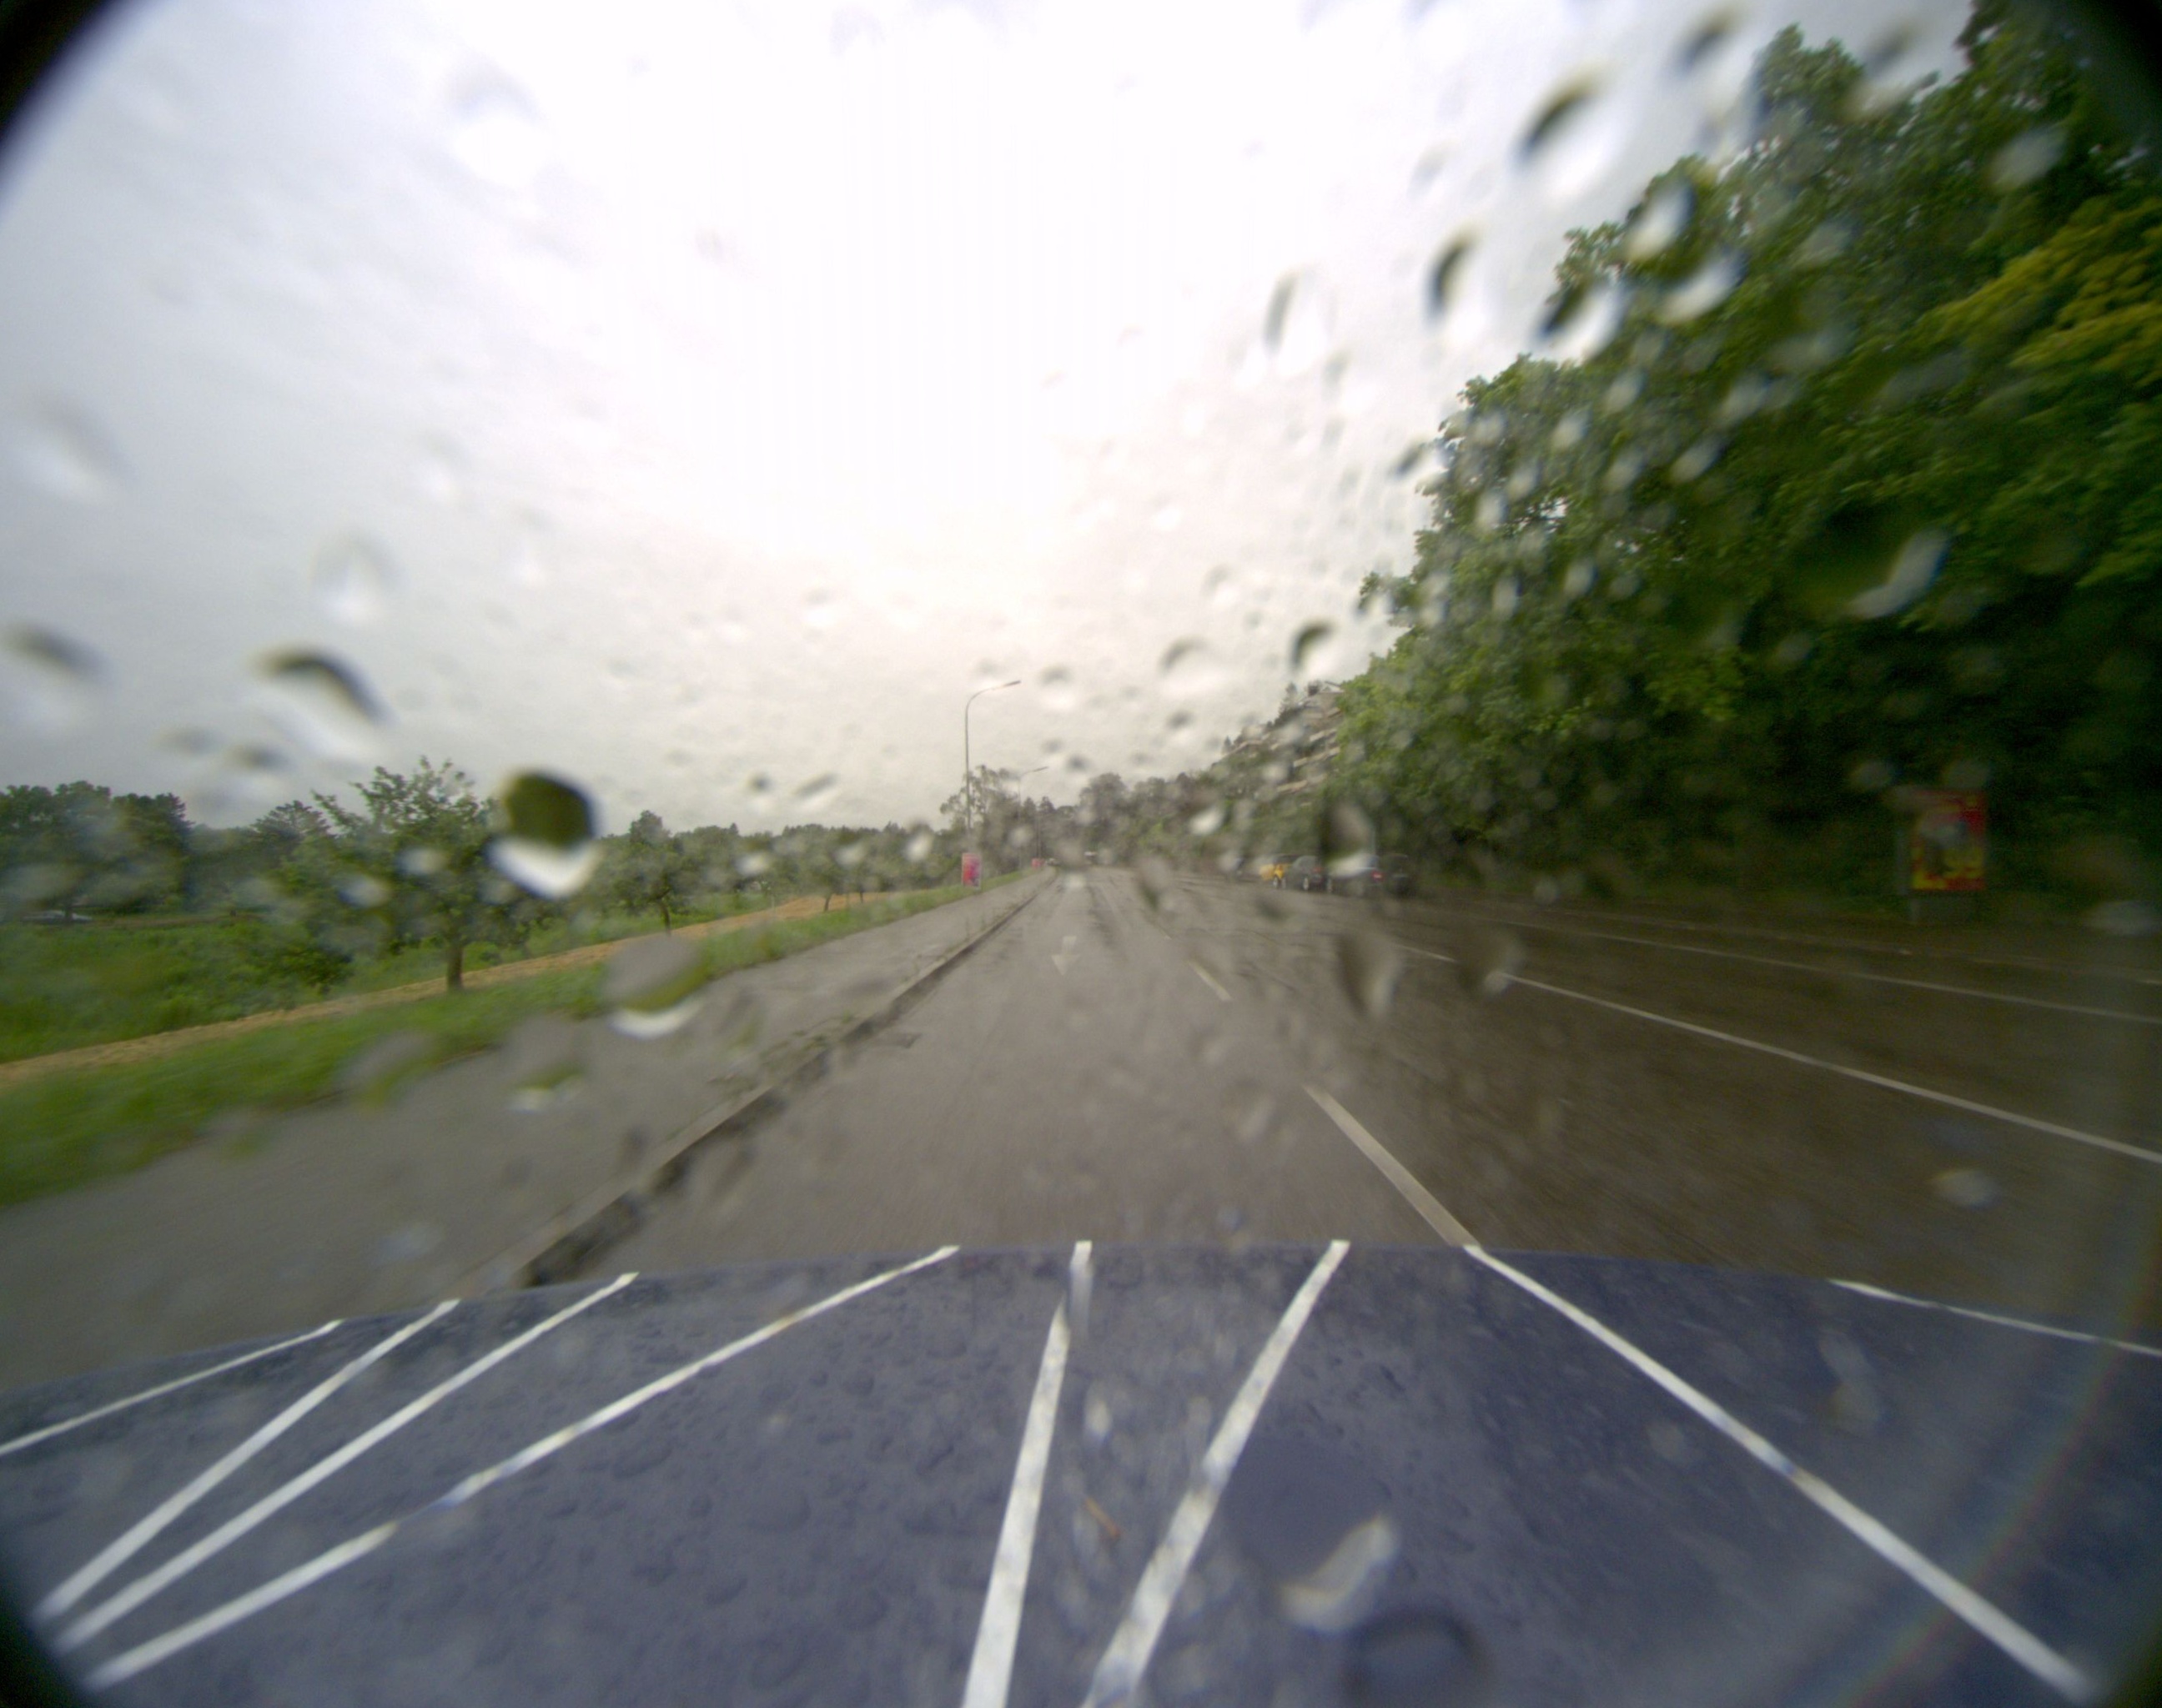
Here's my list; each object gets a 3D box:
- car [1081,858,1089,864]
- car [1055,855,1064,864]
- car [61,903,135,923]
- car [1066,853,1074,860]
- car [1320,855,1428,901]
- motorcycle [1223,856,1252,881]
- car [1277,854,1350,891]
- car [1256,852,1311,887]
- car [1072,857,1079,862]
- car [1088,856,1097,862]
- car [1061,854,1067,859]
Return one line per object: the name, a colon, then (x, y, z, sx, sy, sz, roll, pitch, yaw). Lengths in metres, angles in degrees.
car: (1.056, 1.860, 209.443, 1.853, 1.583, 3.704, -2, -1, -3)
car: (-5.166, 1.318, 181.076, 1.999, 2.001, 4.000, -1, -1, -2)
car: (-91.283, 5.451, 70.599, 3.999, 1.501, 1.799, -2, 1, -7)
car: (-3.598, 0.958, 247.241, 1.855, 2.137, 3.701, -2, 0, -13)
car: (9.936, 0.741, 26.198, 1.691, 1.411, 4.740, -1, 0, -3)
motorcycle: (8.721, 0.800, 42.339, 0.840, 1.333, 2.497, -1, 0, -7)
car: (9.535, 0.717, 31.429, 1.437, 1.411, 4.102, -1, 0, -5)
car: (9.380, 0.696, 35.358, 1.438, 1.528, 2.817, -1, 0, -9)
car: (-1.639, 1.644, 225.682, 1.853, 1.583, 3.704, -2, -1, -3)
car: (2.898, 1.258, 190.295, 1.853, 1.583, 3.704, -2, -1, -3)
car: (-5.342, 0.815, 238.645, 1.597, 1.433, 3.704, 1, 0, -3)
